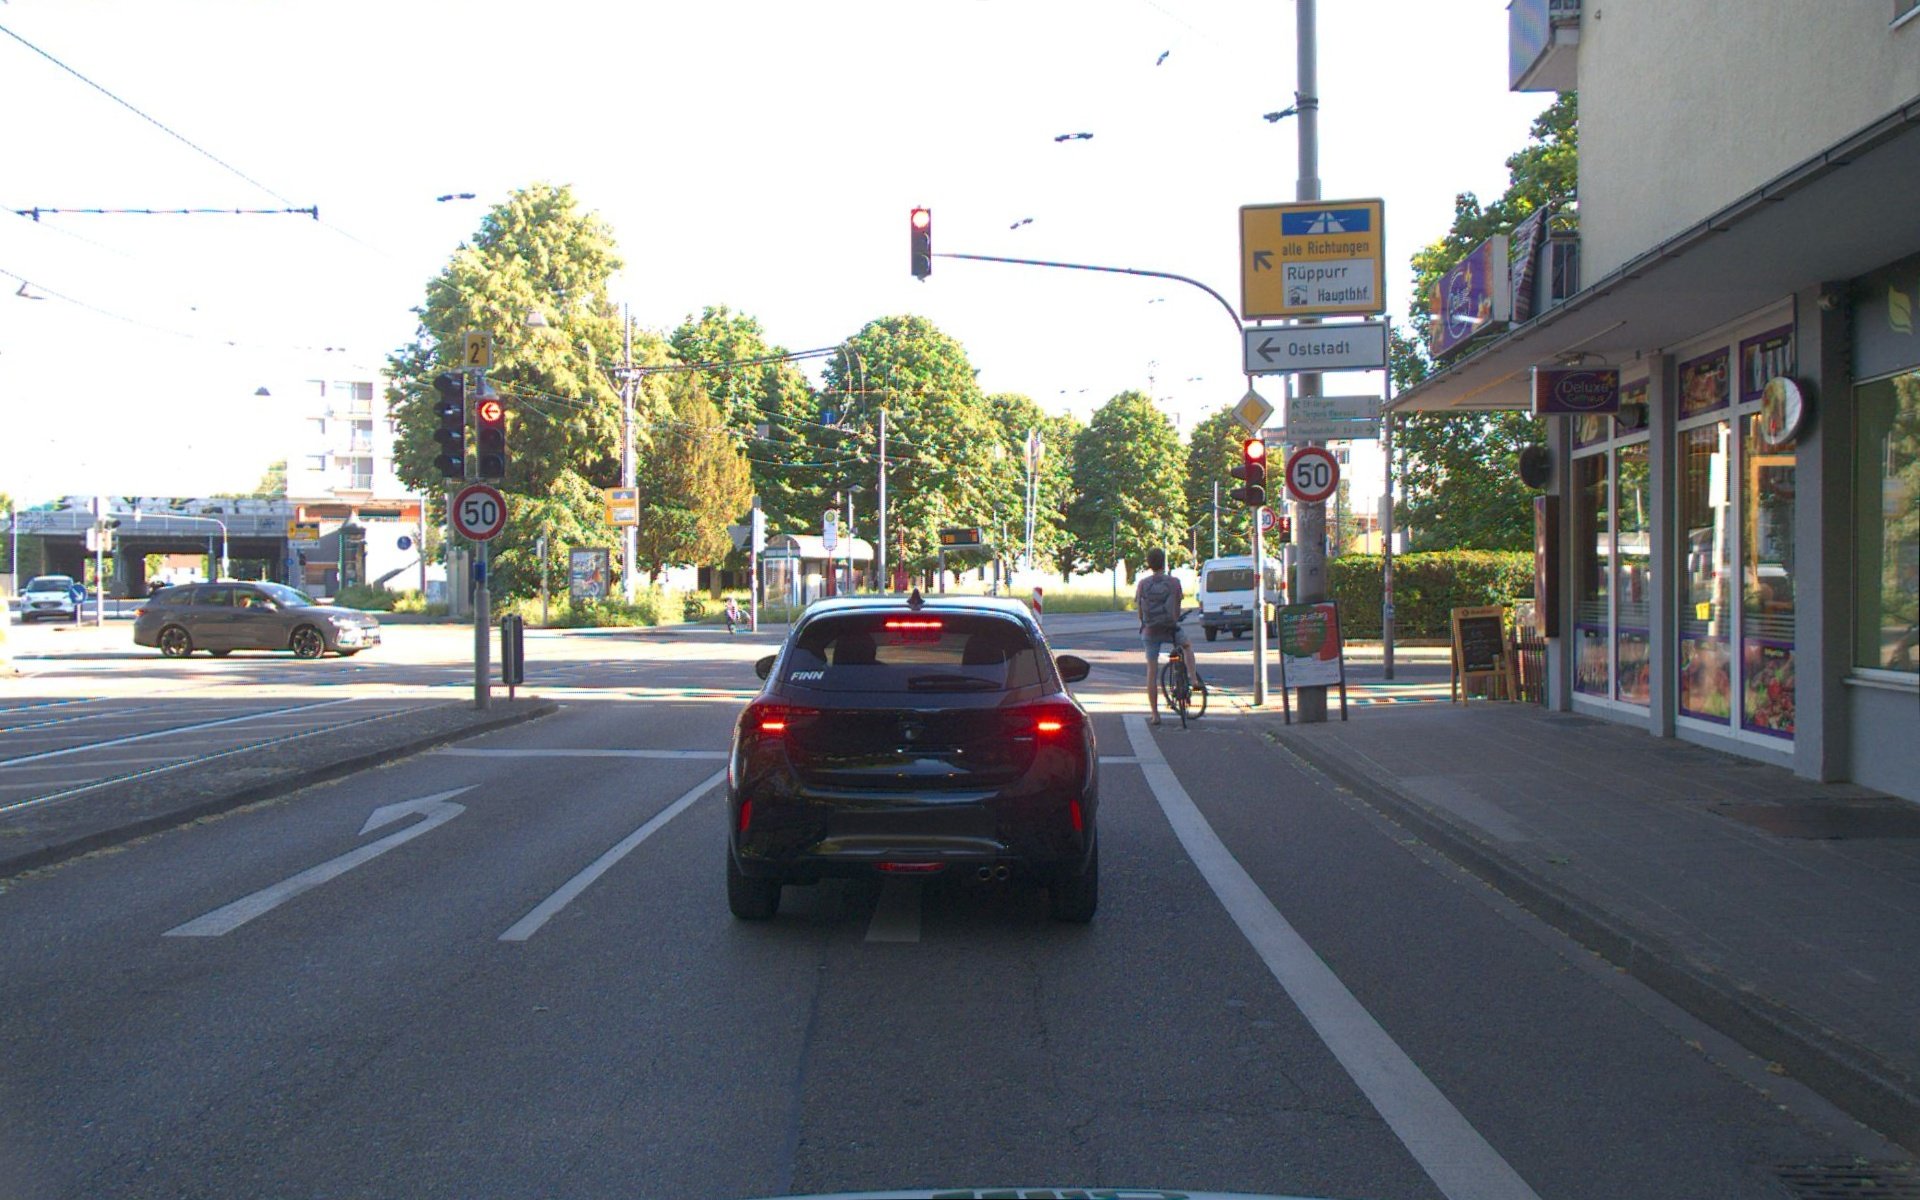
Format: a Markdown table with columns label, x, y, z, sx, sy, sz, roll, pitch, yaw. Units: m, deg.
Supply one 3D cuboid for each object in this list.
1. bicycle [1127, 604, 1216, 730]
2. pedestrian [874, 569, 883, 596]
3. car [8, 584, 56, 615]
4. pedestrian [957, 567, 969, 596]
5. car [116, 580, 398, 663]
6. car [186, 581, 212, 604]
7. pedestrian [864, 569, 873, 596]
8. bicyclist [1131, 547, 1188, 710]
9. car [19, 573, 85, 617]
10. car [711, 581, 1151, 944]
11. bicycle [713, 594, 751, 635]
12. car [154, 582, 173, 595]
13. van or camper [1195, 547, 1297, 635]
| label | x | y | z | sx | sy | sz | roll | pitch | yaw |
| --- | --- | --- | --- | --- | --- | --- | --- | --- | --- |
| bicycle | 2.317 | 0.690 | 17.913 | 0.737 | 1.256 | 2.017 | 0 | 1 | 14 |
| pedestrian | -5.886 | -1.253 | 119.141 | 0.592 | 1.904 | 0.519 | 1 | -1 | -7 |
| car | -50.609 | -0.028 | 90.256 | 1.860 | 1.613 | 3.809 | 1 | 0 | -24 |
| pedestrian | 0.196 | -1.191 | 108.392 | 0.597 | 1.904 | 0.515 | 1 | -1 | -28 |
| car | -13.540 | 0.393 | 32.018 | 4.626 | 1.499 | 1.941 | -1 | 0 | 4 |
| car | -59.241 | -0.554 | 128.764 | 1.732 | 1.713 | 3.712 | 1 | 0 | -25 |
| pedestrian | -6.650 | -1.261 | 120.260 | 0.592 | 1.904 | 0.519 | 1 | -1 | -7 |
| bicyclist | 2.149 | 0.295 | 17.786 | 0.522 | 1.722 | 0.568 | 0 | 0 | 16 |
| car | -35.027 | -0.177 | 63.889 | 1.860 | 1.613 | 3.809 | 1 | 0 | -24 |
| car | -0.145 | 0.649 | 8.784 | 1.803 | 1.487 | 3.983 | 0 | 1 | -1 |
| bicycle | -6.337 | 0.386 | 46.123 | 0.780 | 1.083 | 2.184 | 0 | 1 | -1 |
| car | -81.206 | -1.158 | 168.590 | 1.562 | 1.282 | 3.394 | -1 | 1 | -30 |
| van or camper | 8.095 | -0.225 | 46.470 | 1.987 | 2.351 | 4.540 | 1 | 0 | 20 |
